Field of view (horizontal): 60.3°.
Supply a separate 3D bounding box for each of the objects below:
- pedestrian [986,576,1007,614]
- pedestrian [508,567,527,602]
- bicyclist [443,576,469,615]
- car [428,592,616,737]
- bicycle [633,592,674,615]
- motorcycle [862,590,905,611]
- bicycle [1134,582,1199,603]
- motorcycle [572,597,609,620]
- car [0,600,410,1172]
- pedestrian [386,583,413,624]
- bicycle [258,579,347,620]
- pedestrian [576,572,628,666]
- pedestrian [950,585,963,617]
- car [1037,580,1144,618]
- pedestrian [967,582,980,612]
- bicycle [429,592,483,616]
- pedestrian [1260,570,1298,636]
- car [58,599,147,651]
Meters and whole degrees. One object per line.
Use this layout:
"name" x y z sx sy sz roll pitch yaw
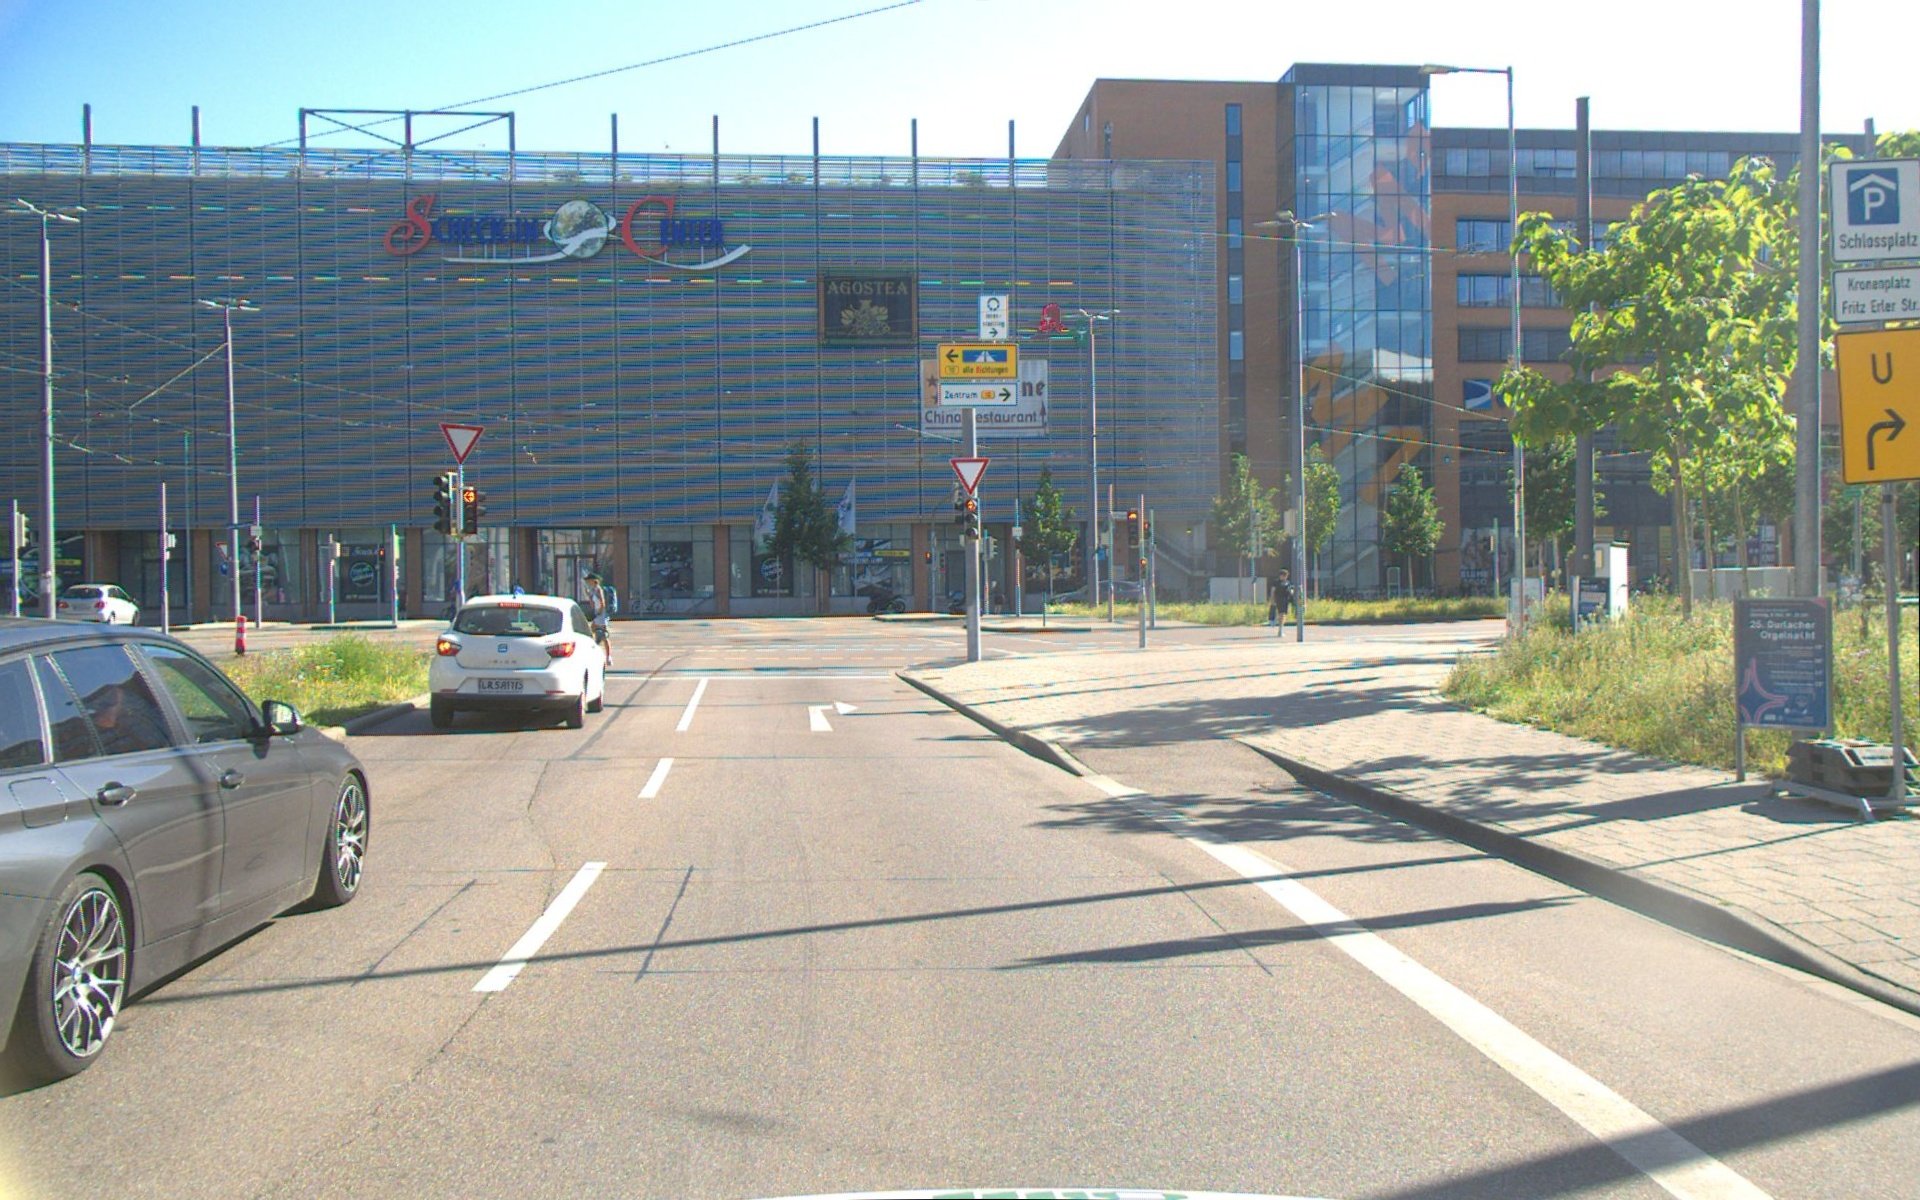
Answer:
"pedestrian" 1.767 -0.246 79.817 0.839 1.768 0.751 -1 1 -14
"pedestrian" -22.495 -0.783 84.047 0.832 1.794 0.619 -1 1 -8
"bicyclist" -23.525 -0.208 77.198 0.801 1.834 0.840 0 1 41
"car" -4.988 0.675 19.252 1.601 1.448 3.776 2 0 -8
"bicycle" -15.560 0.167 83.932 1.988 1.078 1.143 -1 1 -8
"motorcycle" -3.954 0.005 85.838 2.161 1.061 1.060 0 1 -8
"bicycle" 11.000 -0.410 88.248 3.292 1.096 1.116 0 1 -2
"motorcycle" -17.593 0.396 78.796 1.617 1.078 0.497 -1 1 2
"car" -3.551 0.778 6.229 1.700 1.448 4.464 2 0 -4
"pedestrian" -26.116 0.172 77.085 0.887 1.901 0.818 0 1 35
"bicycle" -33.076 -0.035 83.293 3.911 2.048 1.328 0 1 -7
"pedestrian" -6.748 0.350 31.199 0.869 1.737 0.711 -1 1 -8
"pedestrian" -0.170 0.048 82.597 0.578 1.561 0.657 -1 1 -8
"car" 5.648 -0.051 71.886 4.402 1.521 1.492 -1 1 -8
"pedestrian" 0.676 -0.162 83.336 0.578 1.488 0.657 -1 1 -8
"bicycle" -23.531 0.176 77.267 1.027 1.089 2.232 0 1 42
"pedestrian" 8.513 0.068 44.119 0.791 1.738 0.760 -1 1 -8
"car" -31.388 0.875 60.647 1.720 1.825 3.991 1 0 -9
